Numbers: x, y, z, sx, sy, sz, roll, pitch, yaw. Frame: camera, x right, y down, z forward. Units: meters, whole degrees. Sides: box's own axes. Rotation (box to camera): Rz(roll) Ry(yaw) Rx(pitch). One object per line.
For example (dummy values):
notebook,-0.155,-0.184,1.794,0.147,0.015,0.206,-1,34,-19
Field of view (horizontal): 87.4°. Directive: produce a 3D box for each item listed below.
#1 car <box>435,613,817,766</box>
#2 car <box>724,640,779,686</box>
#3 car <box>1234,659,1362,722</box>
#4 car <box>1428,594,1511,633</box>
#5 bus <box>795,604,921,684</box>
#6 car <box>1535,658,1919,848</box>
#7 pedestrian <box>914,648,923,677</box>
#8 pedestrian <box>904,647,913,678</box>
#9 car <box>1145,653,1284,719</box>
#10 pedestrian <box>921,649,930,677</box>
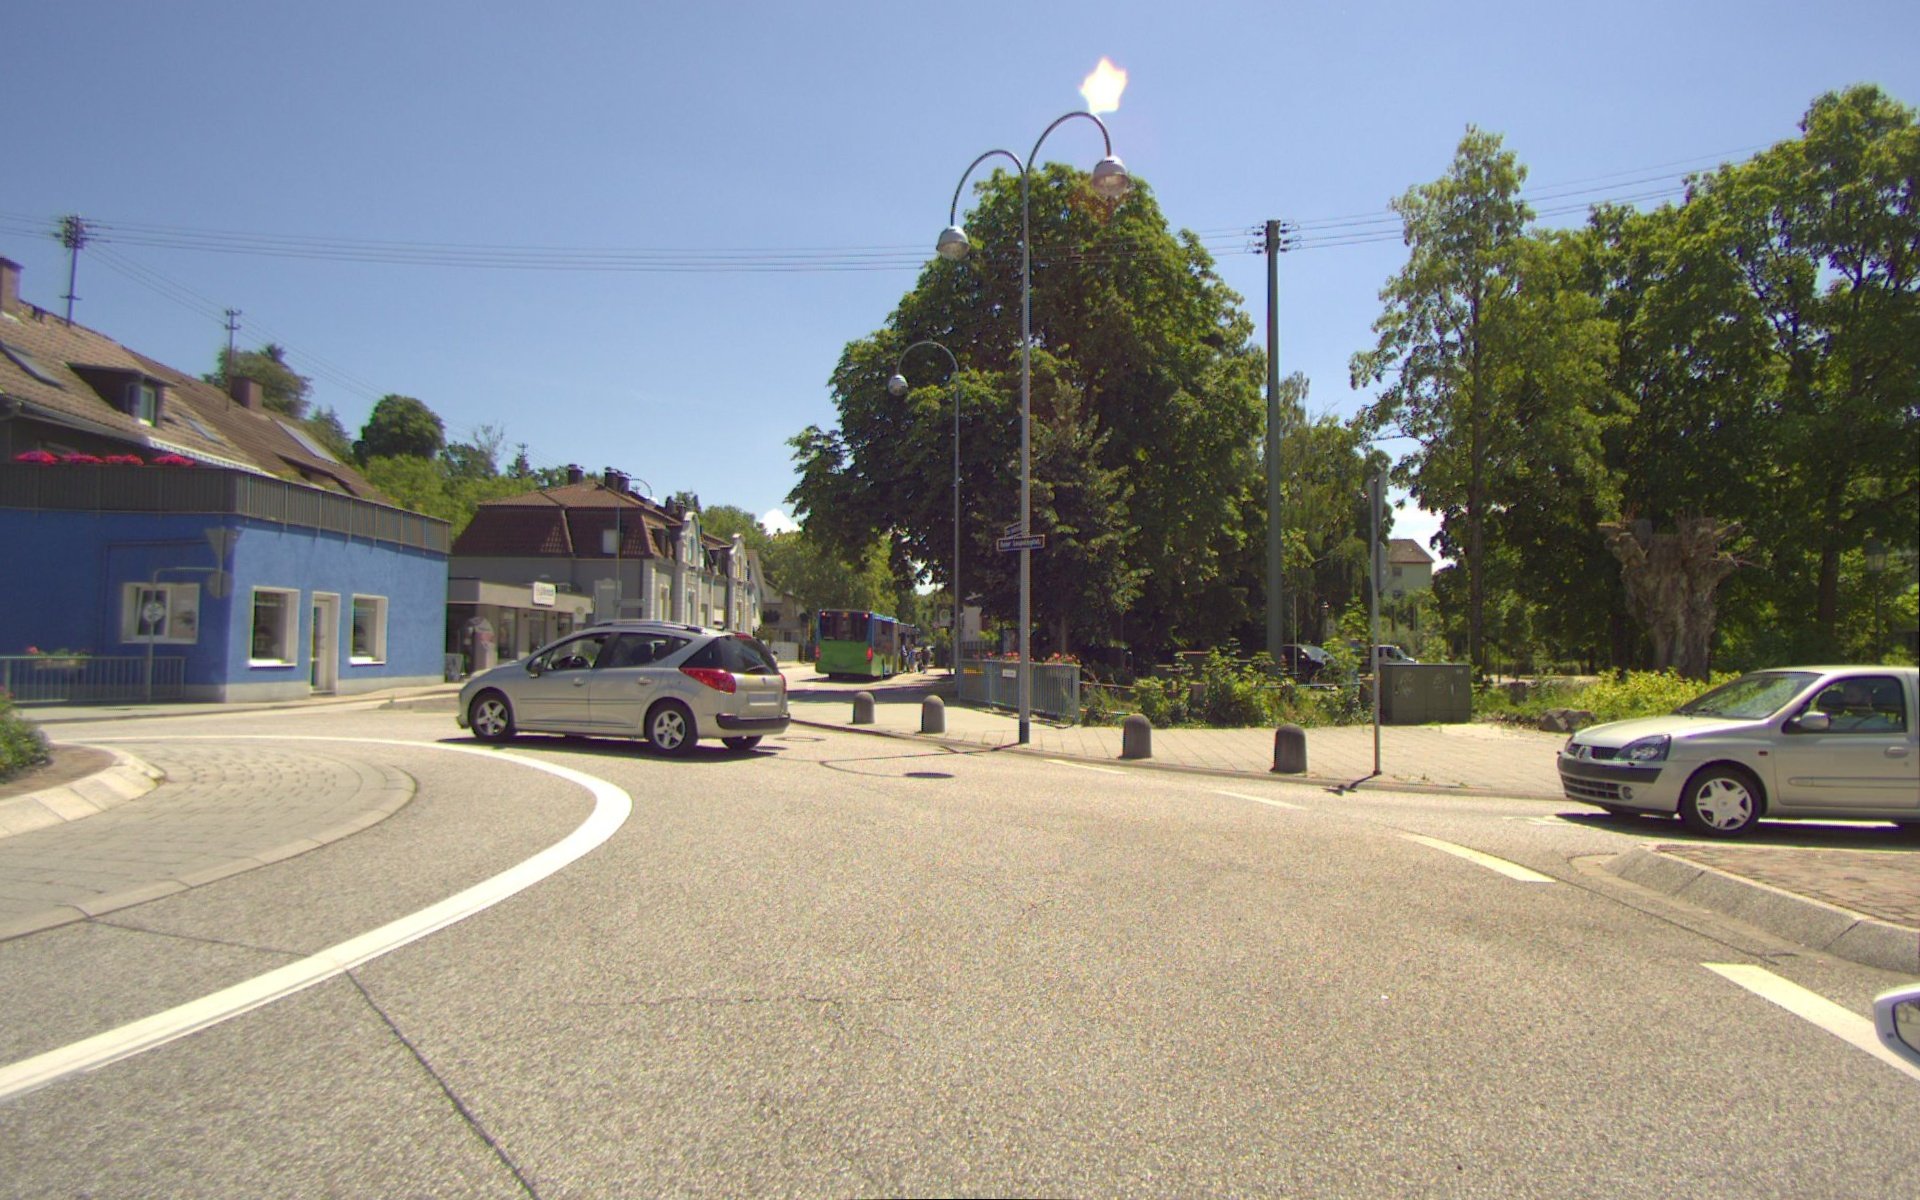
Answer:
car,-4.025,1.027,12.196,4.125,1.536,1.747,1,-4,20
car,-8.182,2.415,39.160,1.872,1.683,4.398,1,-2,-14
car,12.139,3.193,36.257,1.983,2.040,3.957,2,-3,-38
car,27.490,0.778,54.273,3.927,2.040,1.998,-1,-2,28
bus,-4.670,2.353,51.635,3.644,3.212,18.081,2,-3,3
car,7.209,1.259,8.578,3.643,1.430,1.552,0,-5,7
pedestrian,-2.263,3.394,54.492,0.481,1.542,0.542,1,-2,-4
pedestrian,-2.778,3.354,54.250,0.494,1.672,0.579,1,-2,-4
car,6.413,2.147,25.447,3.006,1.573,1.631,1,-2,-12
pedestrian,-1.803,3.283,52.595,0.481,1.473,0.530,1,-2,-4
